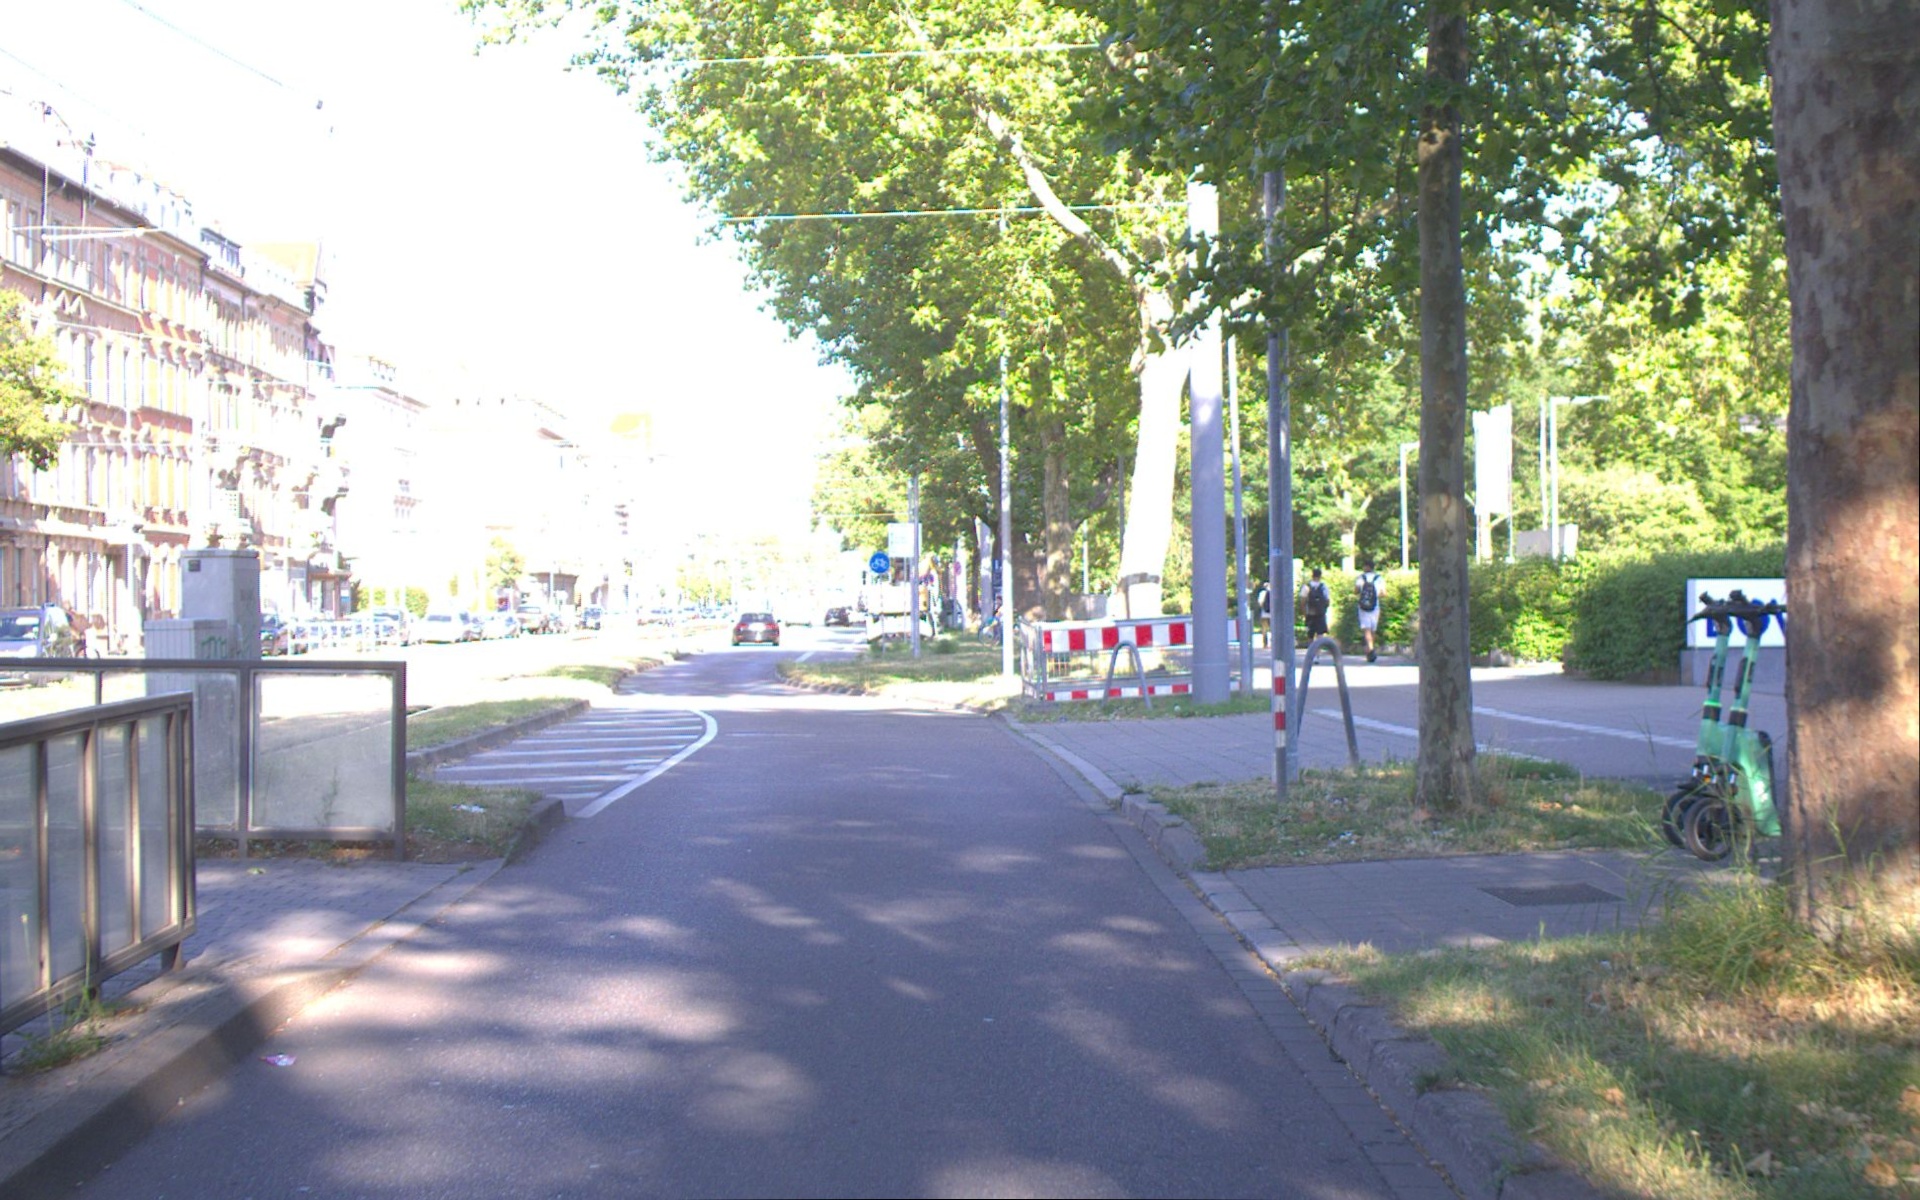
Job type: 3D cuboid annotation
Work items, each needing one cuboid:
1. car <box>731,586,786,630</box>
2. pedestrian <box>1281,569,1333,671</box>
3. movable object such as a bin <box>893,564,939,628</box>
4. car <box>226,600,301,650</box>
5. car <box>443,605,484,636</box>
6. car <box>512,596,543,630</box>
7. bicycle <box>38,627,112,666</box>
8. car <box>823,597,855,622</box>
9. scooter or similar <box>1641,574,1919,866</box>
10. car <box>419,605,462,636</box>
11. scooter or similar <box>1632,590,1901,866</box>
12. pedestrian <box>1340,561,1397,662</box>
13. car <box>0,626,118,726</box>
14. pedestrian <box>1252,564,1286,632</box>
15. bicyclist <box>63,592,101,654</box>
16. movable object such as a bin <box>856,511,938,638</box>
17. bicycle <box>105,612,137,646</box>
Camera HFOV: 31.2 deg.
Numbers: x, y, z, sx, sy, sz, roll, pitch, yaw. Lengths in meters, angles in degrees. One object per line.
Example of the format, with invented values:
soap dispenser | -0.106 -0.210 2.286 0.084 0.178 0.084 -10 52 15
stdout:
car | -8.085 0.329 138.110 1.993 1.678 4.000 1 0 -1
pedestrian | 6.209 0.352 61.536 0.750 1.787 1.086 -2 0 -1
movable object such as a bin | -2.163 -0.191 168.043 1.968 3.003 4.796 -3 0 -2
car | -26.603 0.950 131.462 2.015 1.748 4.558 1 1 -2
car | -26.919 1.097 186.402 1.741 1.555 3.768 1 1 -2
car | -28.515 0.833 226.653 1.658 2.132 3.525 1 1 -2
bicycle | -25.696 1.343 99.839 1.953 1.037 0.767 -1 5 -5
car | -9.030 0.707 256.675 1.993 1.853 4.001 1 0 -7
scooter or similar | 3.663 0.523 15.356 1.052 1.240 0.841 -2 0 2
car | -27.426 1.073 181.635 1.741 1.555 3.768 1 1 -2
scooter or similar | 3.796 0.591 16.249 1.052 1.240 0.841 -2 0 2
pedestrian | 7.337 0.207 61.781 0.805 1.787 1.110 -2 0 -1
car | -19.503 1.574 71.982 1.939 1.912 4.471 5 -1 8
pedestrian | 7.143 -0.046 79.429 0.650 1.534 0.783 -2 0 -1
bicyclist | -25.489 0.673 99.803 0.919 1.709 0.767 -1 5 -5
movable object such as a bin | -2.732 -1.044 145.870 3.087 5.071 8.892 -3 0 -2
bicycle | -29.963 1.039 122.761 0.699 1.176 1.751 1 0 -1
